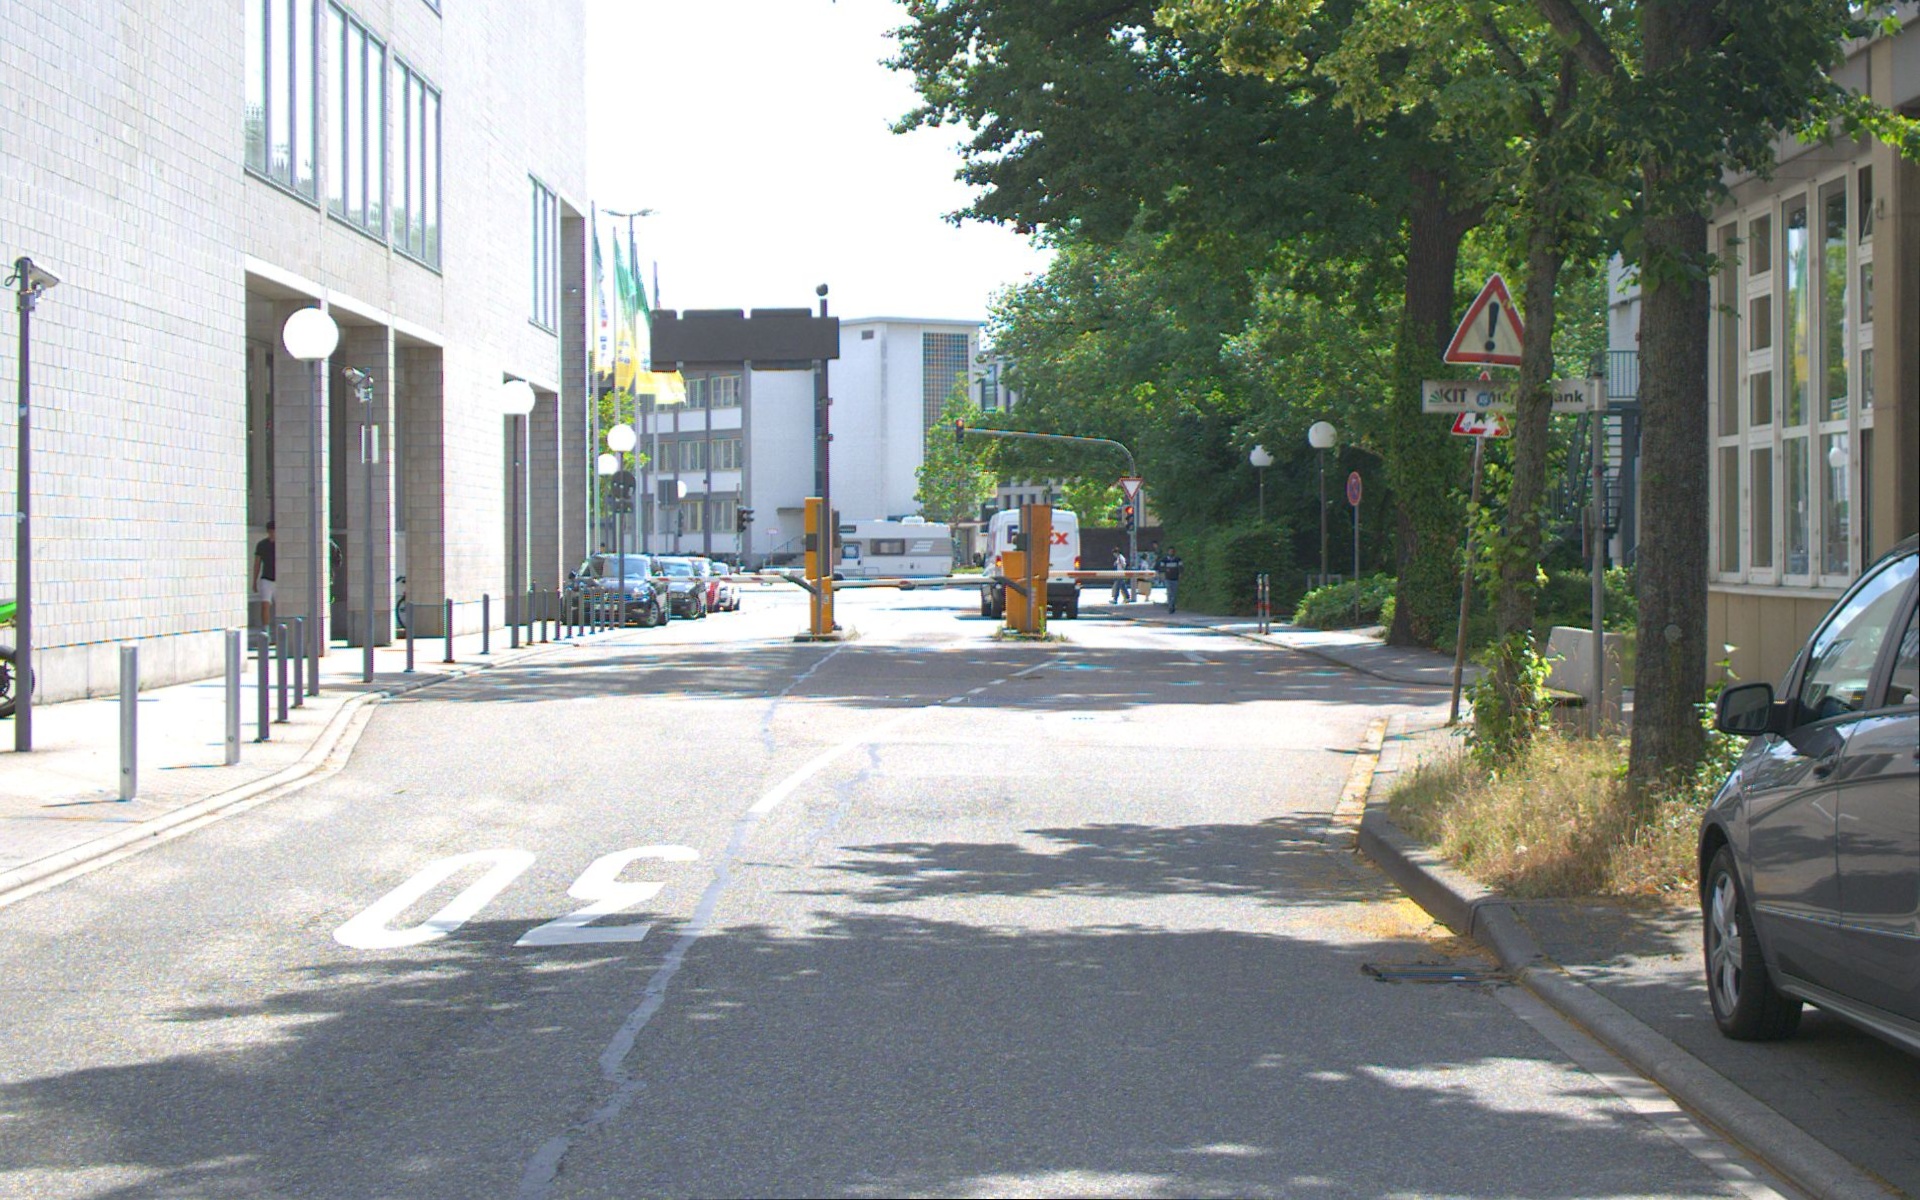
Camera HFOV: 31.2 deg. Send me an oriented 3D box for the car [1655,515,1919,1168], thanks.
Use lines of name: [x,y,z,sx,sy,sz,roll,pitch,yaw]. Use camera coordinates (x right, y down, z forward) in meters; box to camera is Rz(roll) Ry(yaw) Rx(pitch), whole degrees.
car: [3.153,0.547,9.191,1.756,1.563,3.818,-1,1,-1]

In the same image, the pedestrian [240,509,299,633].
pedestrian: [-10.545,-0.448,52.529,0.731,1.874,0.720,1,1,0]

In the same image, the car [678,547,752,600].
car: [-6.963,-0.768,98.099,1.676,1.390,4.662,2,1,1]

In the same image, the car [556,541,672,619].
car: [-6.991,-0.426,69.883,1.859,1.462,4.719,2,1,0]

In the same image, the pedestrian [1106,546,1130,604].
pedestrian: [5.083,-0.804,110.606,0.767,1.853,0.722,0,1,2]

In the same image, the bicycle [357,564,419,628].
bicycle: [-9.831,-0.080,59.193,0.830,1.065,2.472,1,1,-4]

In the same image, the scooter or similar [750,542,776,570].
scooter or similar: [-8.232,-1.846,143.427,0.716,1.174,2.726,0,1,-11]

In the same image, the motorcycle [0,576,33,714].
motorcycle: [-8.923,0.362,28.787,2.165,1.134,0.775,1,1,-10]

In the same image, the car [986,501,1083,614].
car: [1.726,-1.023,81.195,2.095,2.558,5.602,0,1,-1]

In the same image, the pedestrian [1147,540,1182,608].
pedestrian: [5.063,-0.650,85.202,0.739,1.669,1.256,0,1,-3]

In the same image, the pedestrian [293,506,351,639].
pedestrian: [-9.748,-0.426,52.547,0.699,2.007,0.830,1,1,0]

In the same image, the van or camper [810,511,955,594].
van or camper: [-3.101,-1.883,137.112,5.710,3.248,2.356,0,0,-2]

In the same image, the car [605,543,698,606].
car: [-7.337,-0.626,82.157,1.859,1.373,5.017,2,1,-1]
